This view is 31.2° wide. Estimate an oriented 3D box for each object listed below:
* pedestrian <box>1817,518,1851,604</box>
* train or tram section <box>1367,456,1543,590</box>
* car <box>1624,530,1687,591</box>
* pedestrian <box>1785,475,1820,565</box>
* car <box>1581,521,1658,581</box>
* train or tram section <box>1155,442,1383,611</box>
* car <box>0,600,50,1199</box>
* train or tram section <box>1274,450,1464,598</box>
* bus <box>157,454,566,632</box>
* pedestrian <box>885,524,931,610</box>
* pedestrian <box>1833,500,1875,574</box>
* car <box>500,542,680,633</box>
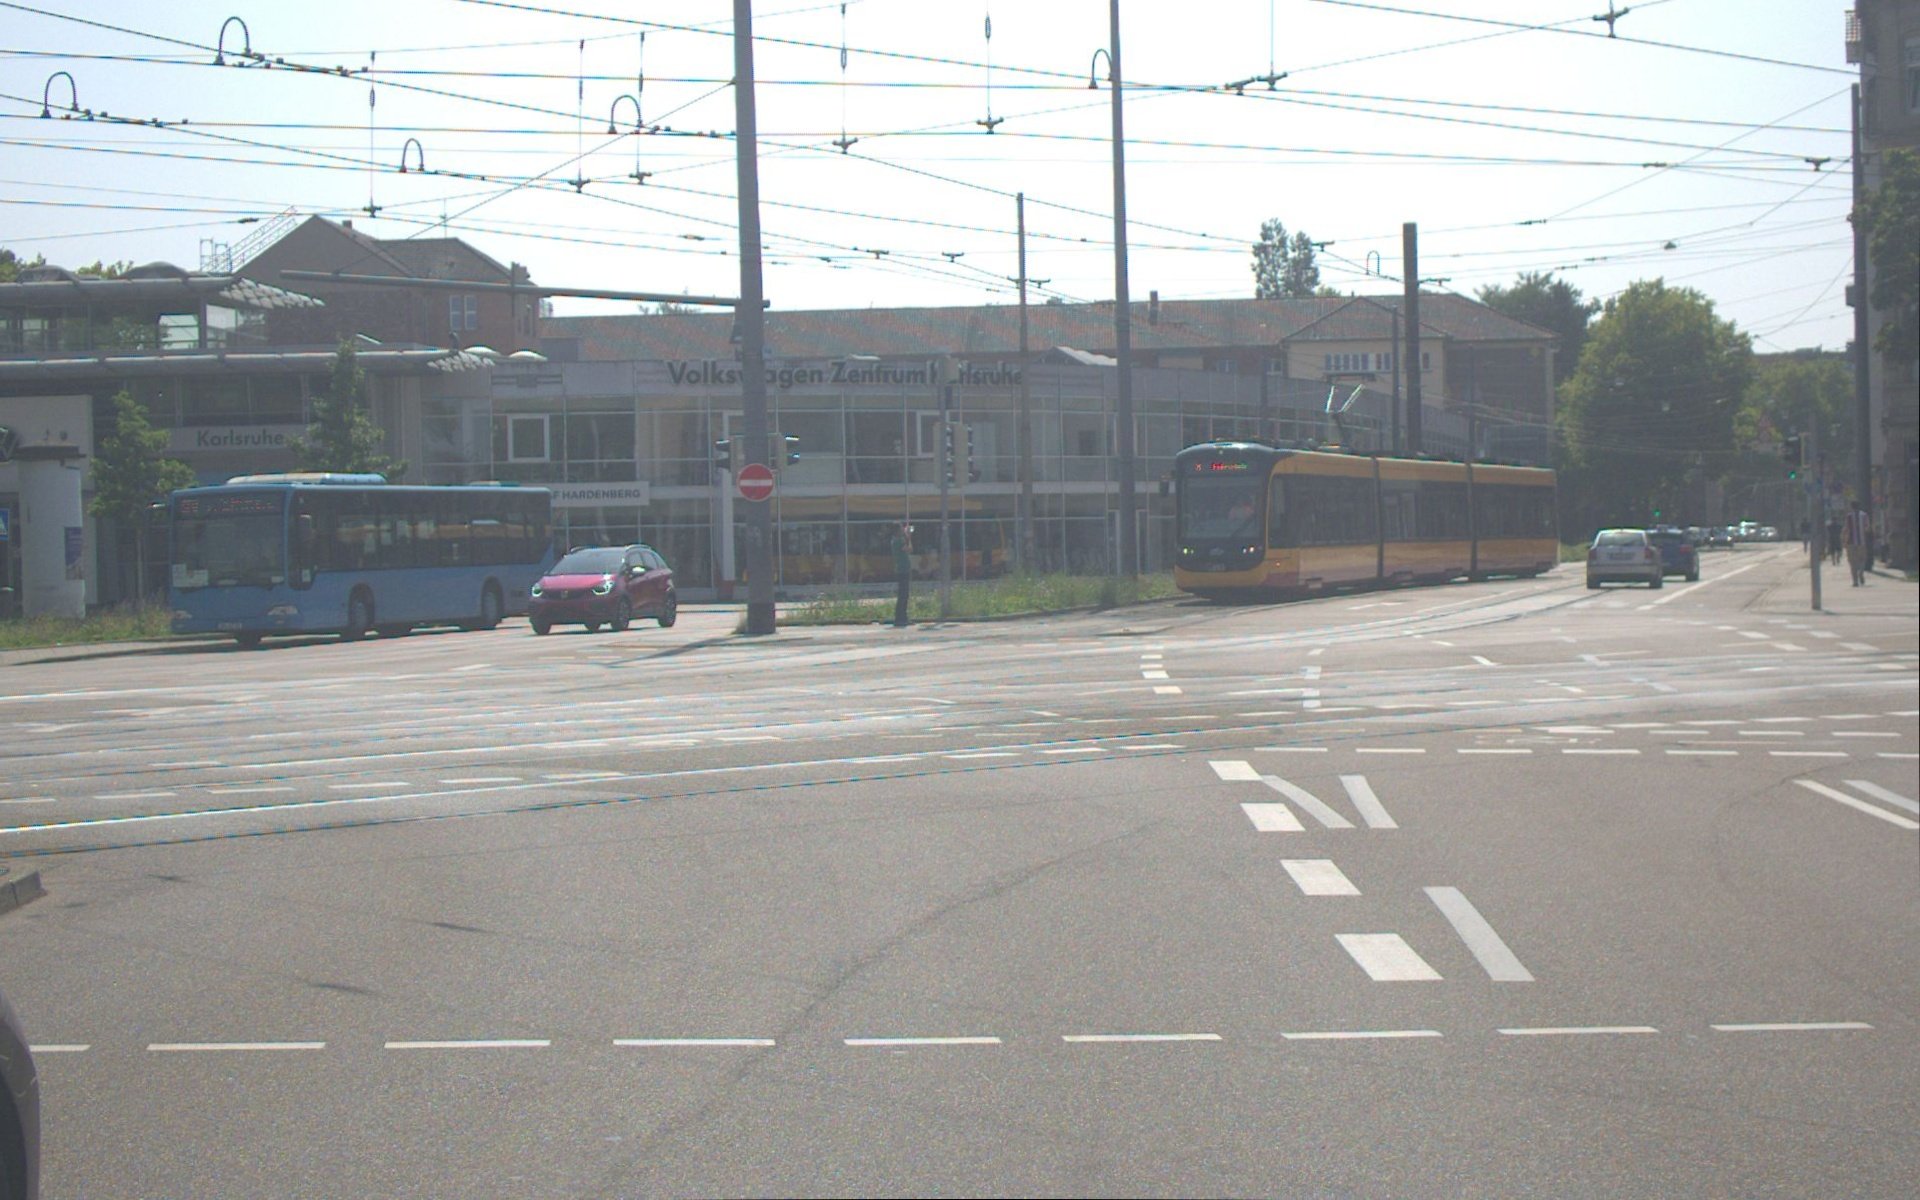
[{"bbox_3d":[30.795,-1.391,121.171,0.983,3.007,0.974,-1,1,5],"label":"pedestrian"},{"bbox_3d":[14.190,-2.183,97.612,2.590,3.504,12.961,-1,1,19],"label":"train or tram section"},{"bbox_3d":[19.233,-1.112,95.020,1.637,1.612,3.998,-1,1,12],"label":"car"},{"bbox_3d":[28.474,-2.703,116.159,0.983,3.007,0.974,-1,1,6],"label":"pedestrian"},{"bbox_3d":[16.300,-1.231,84.893,1.771,1.411,4.187,-1,1,12],"label":"car"},{"bbox_3d":[7.105,-1.655,77.333,2.590,3.504,10.889,-1,1,19],"label":"train or tram section"},{"bbox_3d":[-2.627,0.717,4.304,1.766,1.383,3.781,1,1,4],"label":"car"},{"bbox_3d":[10.453,-1.915,86.955,2.591,3.504,9.649,-1,1,20],"label":"train or tram section"},{"bbox_3d":[-11.190,-1.125,66.121,2.564,3.072,12.014,-1,1,17],"label":"bus"},{"bbox_3d":[-0.886,-0.566,58.206,0.676,1.438,0.366,-1,1,-17],"label":"pedestrian"},{"bbox_3d":[19.403,-1.368,74.622,0.699,1.597,0.573,-1,1,-7],"label":"pedestrian"},{"bbox_3d":[-6.728,-0.249,62.935,1.751,1.546,3.997,-1,1,18],"label":"car"}]
